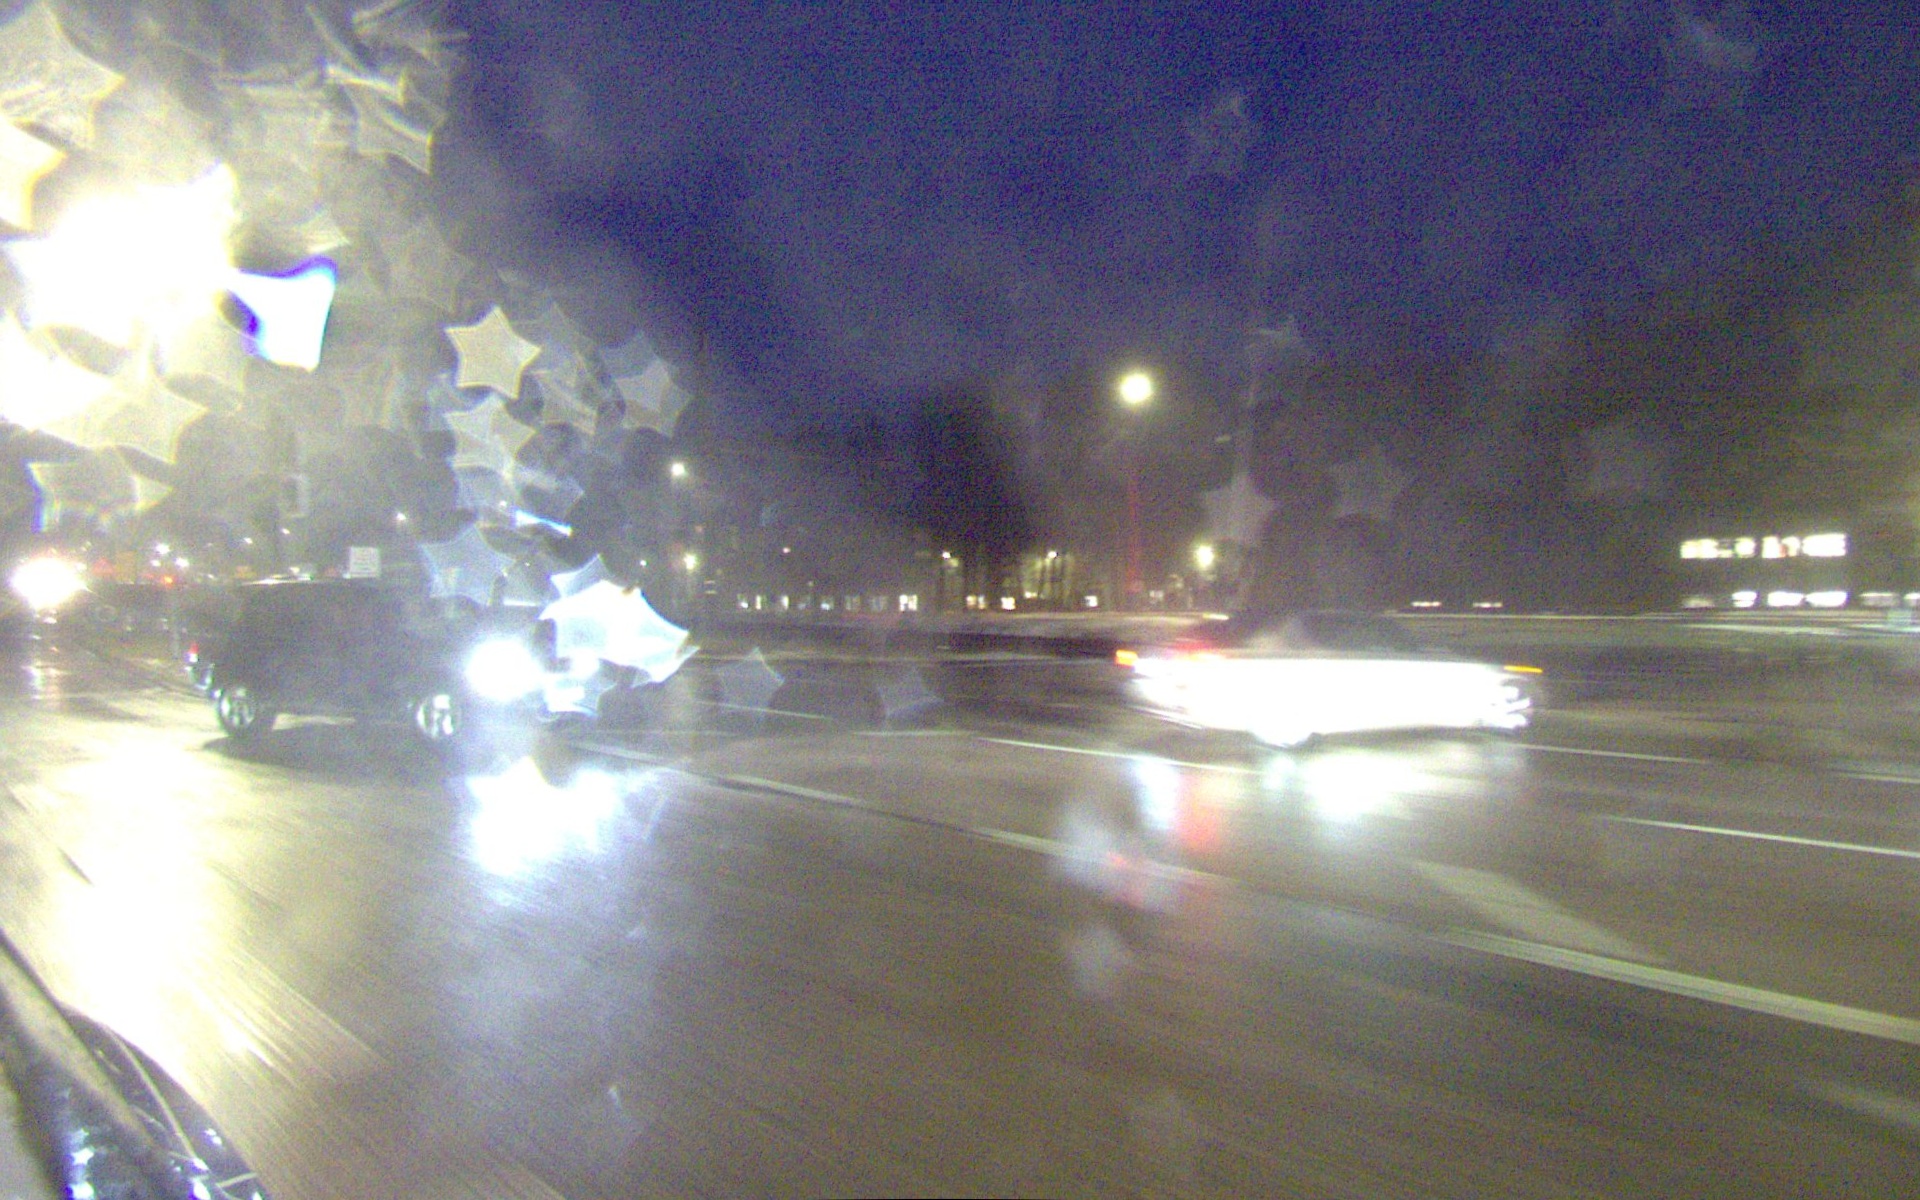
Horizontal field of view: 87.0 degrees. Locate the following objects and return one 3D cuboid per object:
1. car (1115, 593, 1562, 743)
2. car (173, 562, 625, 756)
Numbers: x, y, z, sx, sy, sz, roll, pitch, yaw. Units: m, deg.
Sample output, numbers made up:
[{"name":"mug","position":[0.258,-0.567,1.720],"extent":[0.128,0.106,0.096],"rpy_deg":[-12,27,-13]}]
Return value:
[{"name":"car","position":[4.094,0.641,11.082],"extent":[4.428,1.375,1.671],"rpy_deg":[-1,1,-15]},{"name":"car","position":[-6.258,0.571,11.357],"extent":[4.490,1.857,1.987],"rpy_deg":[-1,0,20]}]
